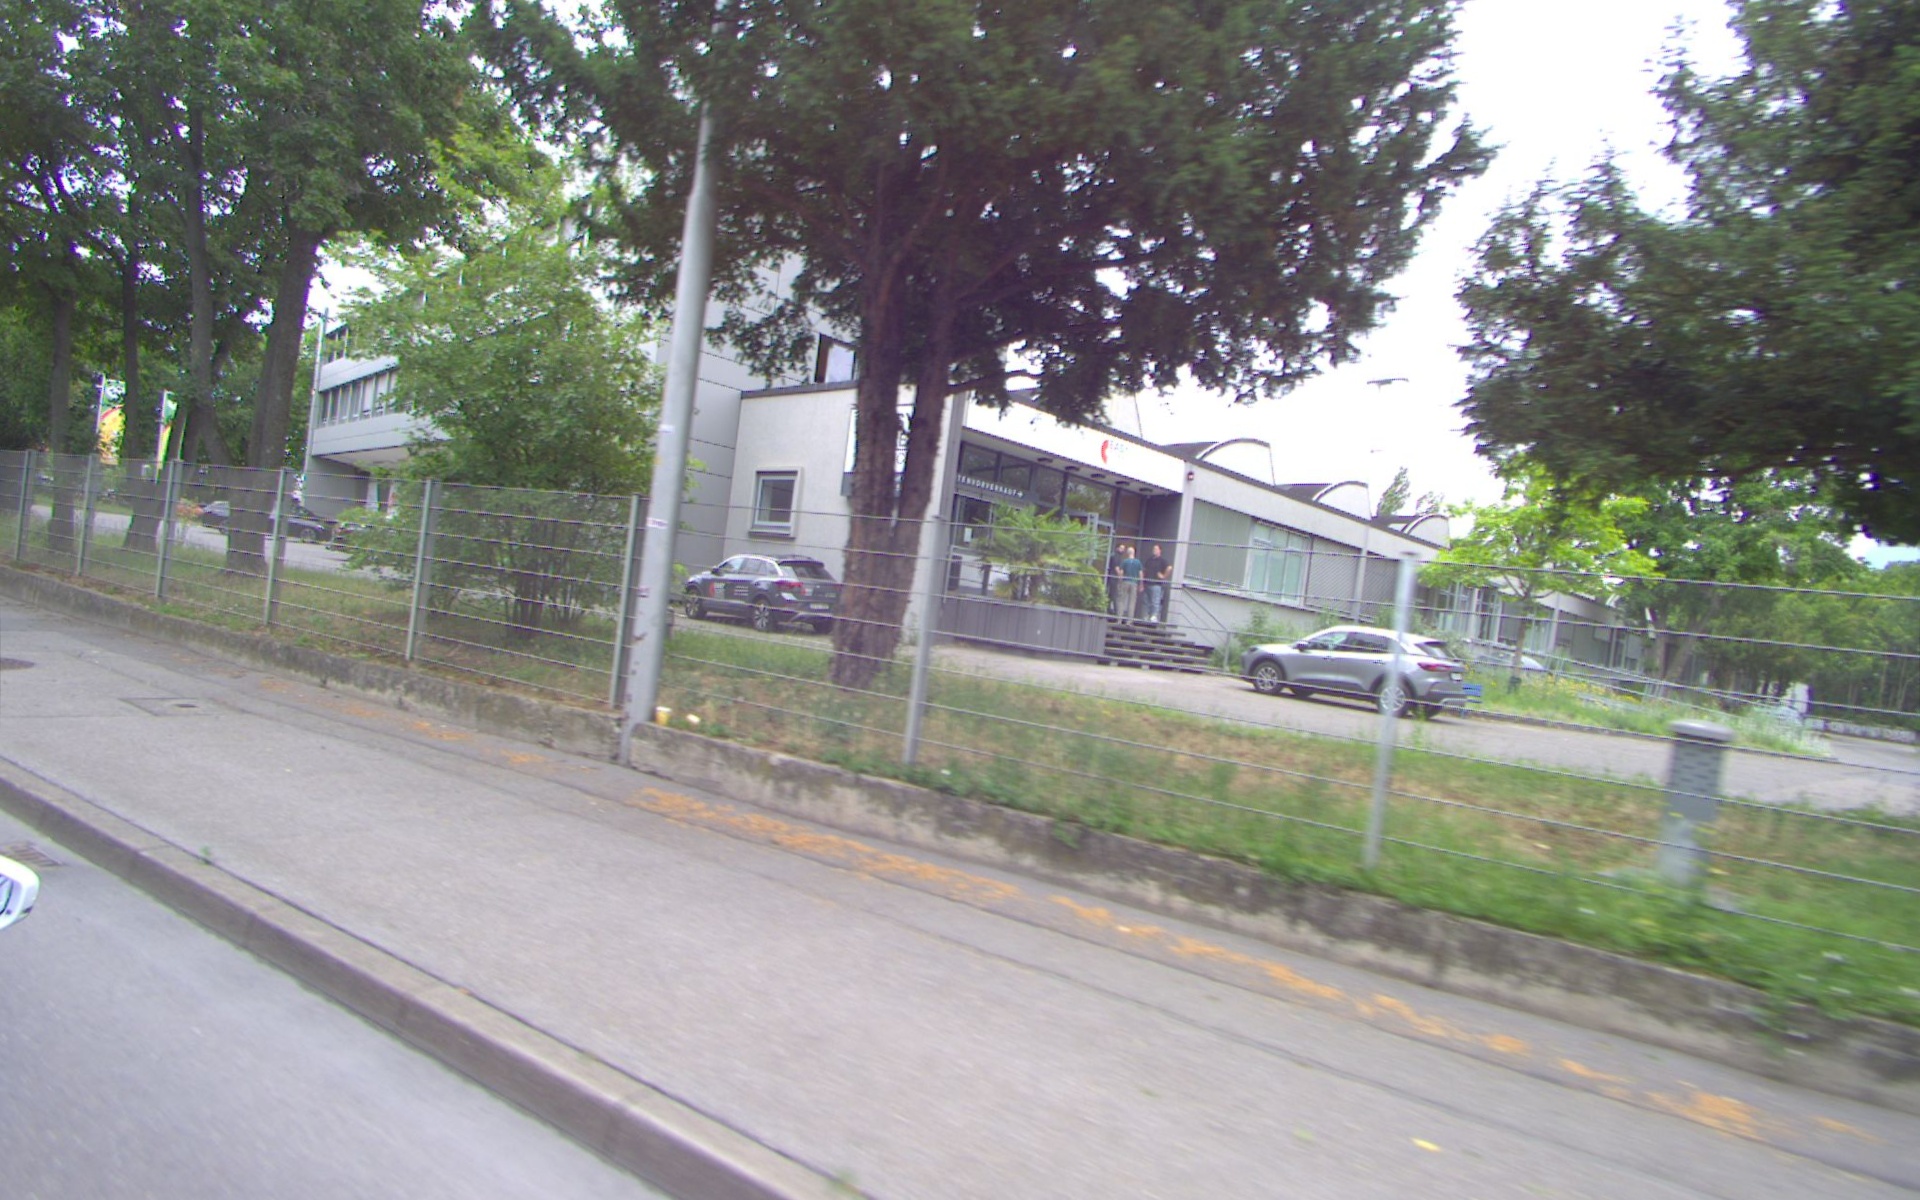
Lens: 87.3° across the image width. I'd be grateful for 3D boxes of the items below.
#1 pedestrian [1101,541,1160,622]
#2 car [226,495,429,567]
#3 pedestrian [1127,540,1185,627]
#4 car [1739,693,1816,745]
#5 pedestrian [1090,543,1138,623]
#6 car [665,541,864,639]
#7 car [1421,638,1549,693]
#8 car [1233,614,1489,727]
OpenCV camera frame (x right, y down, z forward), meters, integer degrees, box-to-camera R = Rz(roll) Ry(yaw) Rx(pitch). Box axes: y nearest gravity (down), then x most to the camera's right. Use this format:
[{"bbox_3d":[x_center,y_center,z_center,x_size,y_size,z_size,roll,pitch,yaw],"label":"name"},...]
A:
[{"bbox_3d":[3.996,-0.443,23.623,0.907,1.774,0.793,6,1,-19],"label":"pedestrian"},{"bbox_3d":[-18.798,-2.020,30.106,4.614,1.492,1.996,6,1,-11],"label":"car"},{"bbox_3d":[4.897,-0.411,25.190,0.791,2.039,0.910,5,2,-41],"label":"pedestrian"},{"bbox_3d":[31.367,4.531,38.698,1.970,1.540,4.424,8,1,37],"label":"car"},{"bbox_3d":[3.849,-0.435,25.191,0.736,1.909,0.690,6,1,-25],"label":"pedestrian"},{"bbox_3d":[-4.294,-0.250,21.653,4.382,1.588,1.987,8,3,44],"label":"car"},{"bbox_3d":[20.948,2.585,40.246,1.896,1.540,4.017,6,2,-40],"label":"car"},{"bbox_3d":[8.204,1.411,20.885,1.987,1.633,4.385,6,2,-43],"label":"car"}]
